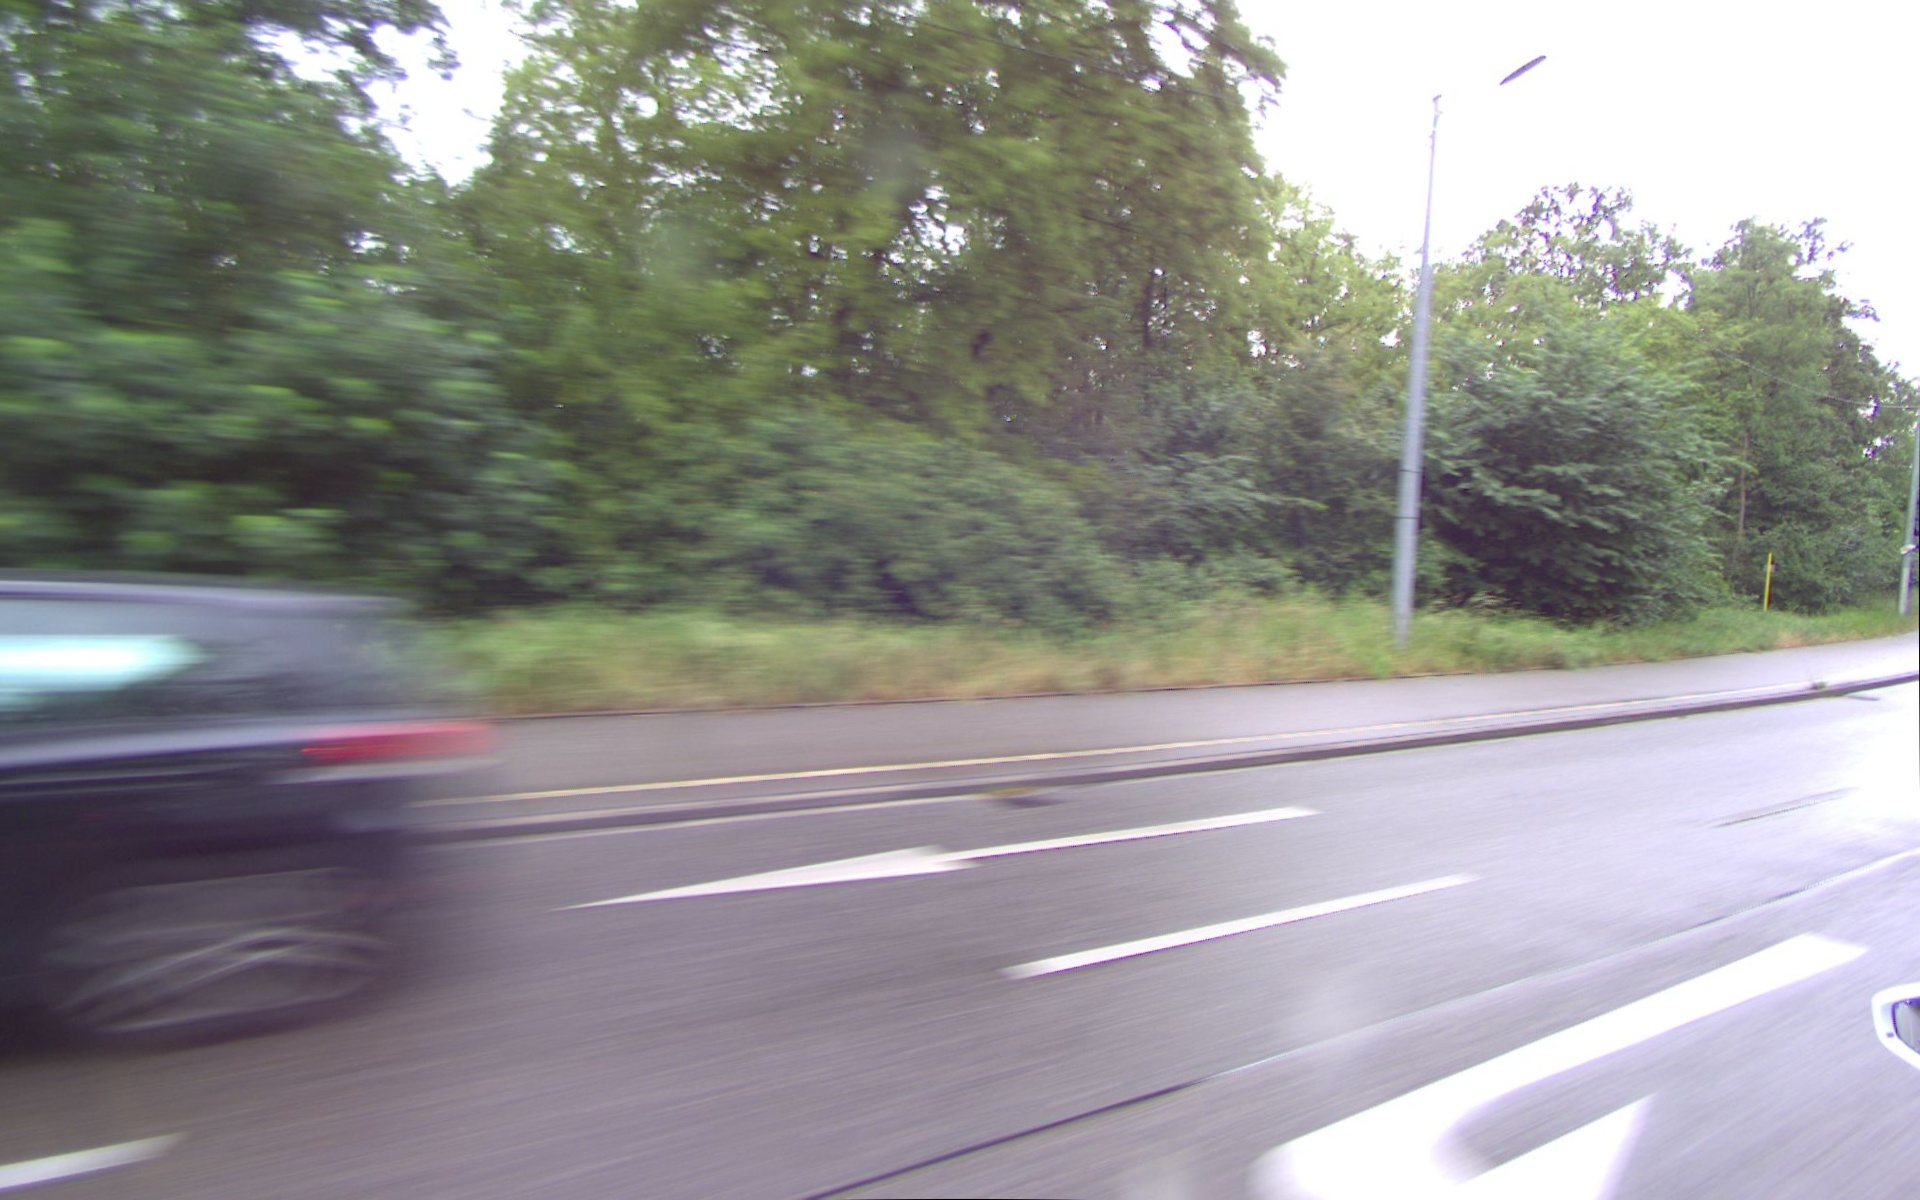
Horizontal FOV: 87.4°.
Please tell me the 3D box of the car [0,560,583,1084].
[{"bbox_3d":[-3.523,0.612,3.391,3.954,1.460,1.817,-2,4,-31],"label":"car"}]
